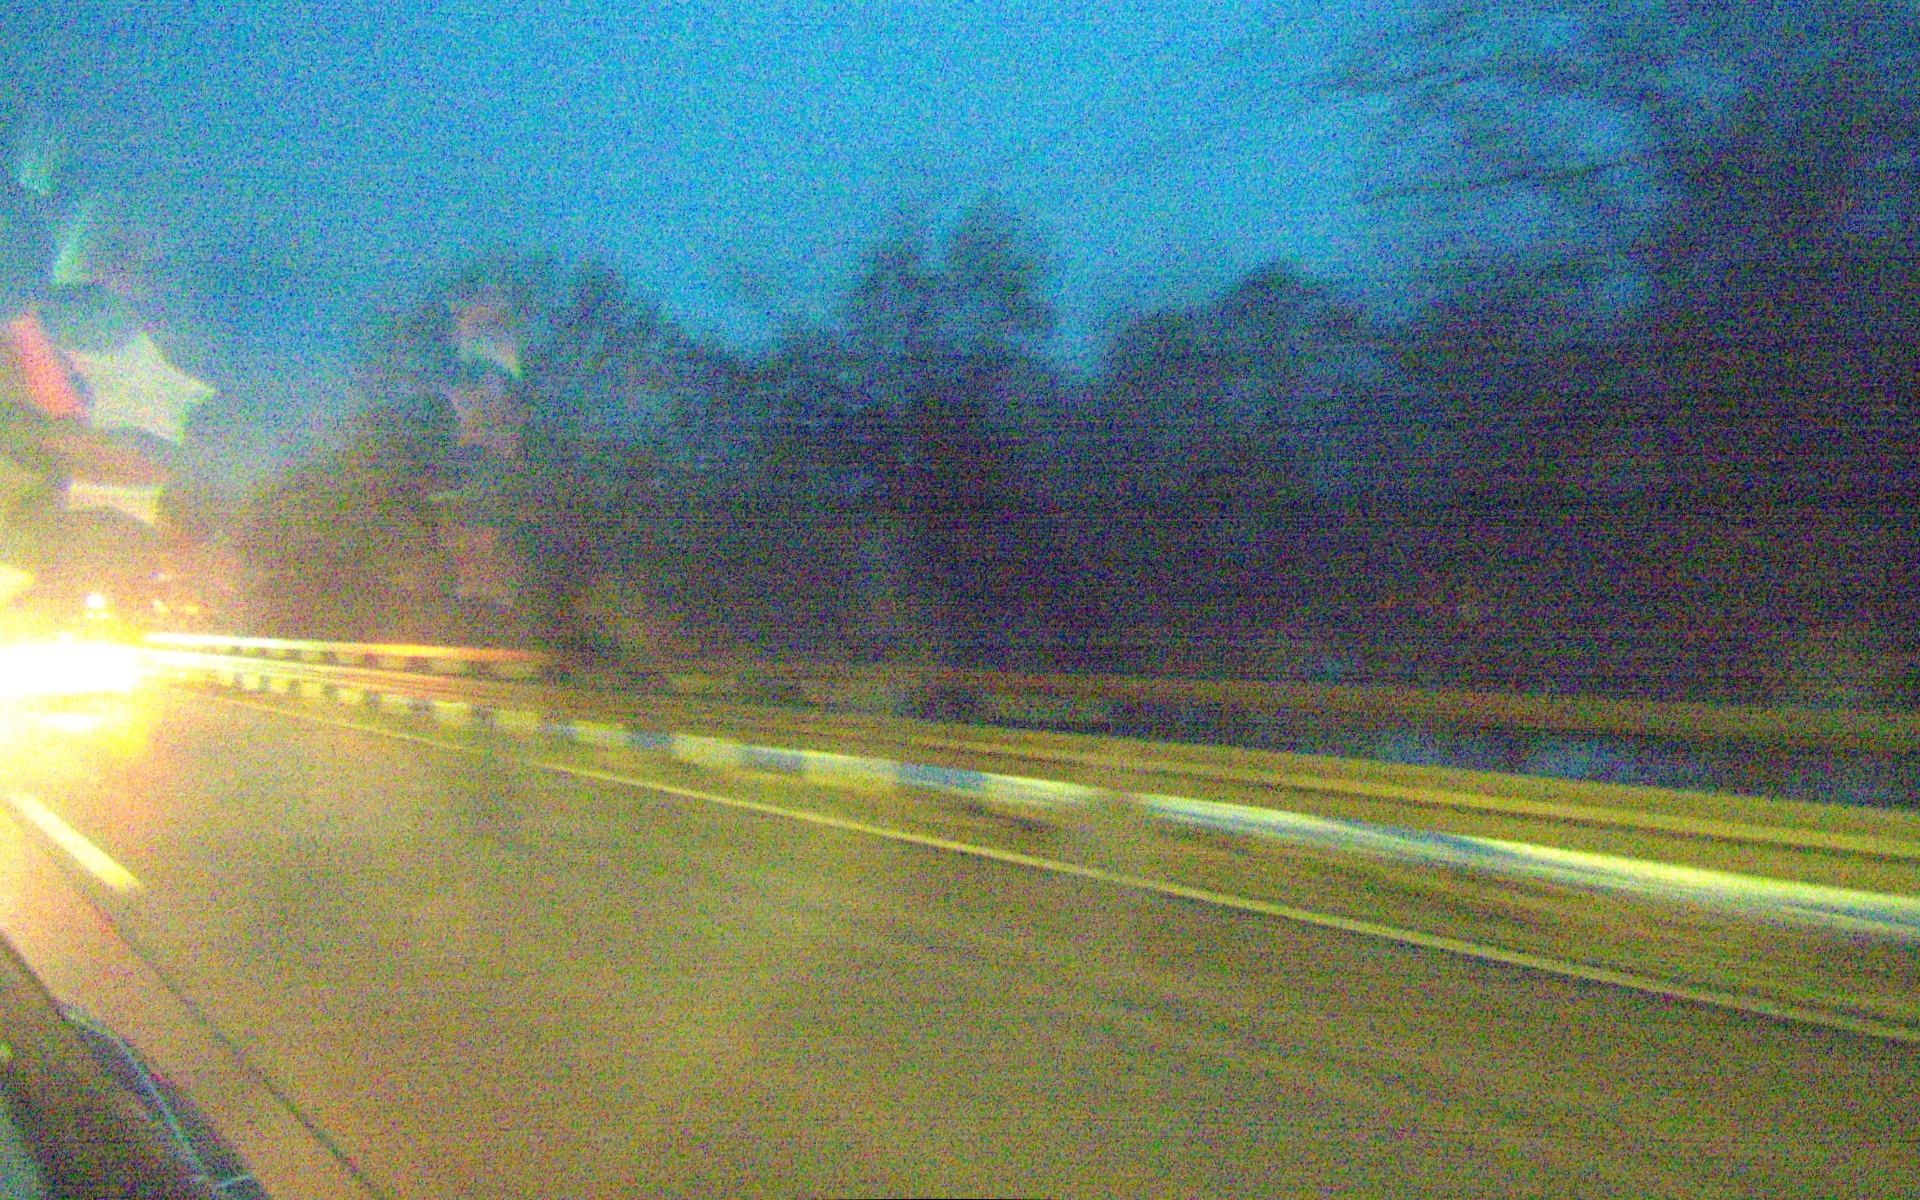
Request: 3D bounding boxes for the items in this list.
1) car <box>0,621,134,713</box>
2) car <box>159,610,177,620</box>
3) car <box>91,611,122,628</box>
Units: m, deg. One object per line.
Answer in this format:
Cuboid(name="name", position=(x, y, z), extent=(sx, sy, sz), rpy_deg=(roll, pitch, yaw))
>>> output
Cuboid(name="car", position=(-15.842, 1.073, 17.504), extent=(4.187, 1.348, 1.786), rpy_deg=(0, 0, 42))
Cuboid(name="car", position=(-153.911, 2.885, 196.723), extent=(1.965, 1.763, 4.272), rpy_deg=(0, 0, -27))
Cuboid(name="car", position=(-102.386, 2.322, 121.408), extent=(1.965, 1.940, 4.013), rpy_deg=(0, 0, -27))
